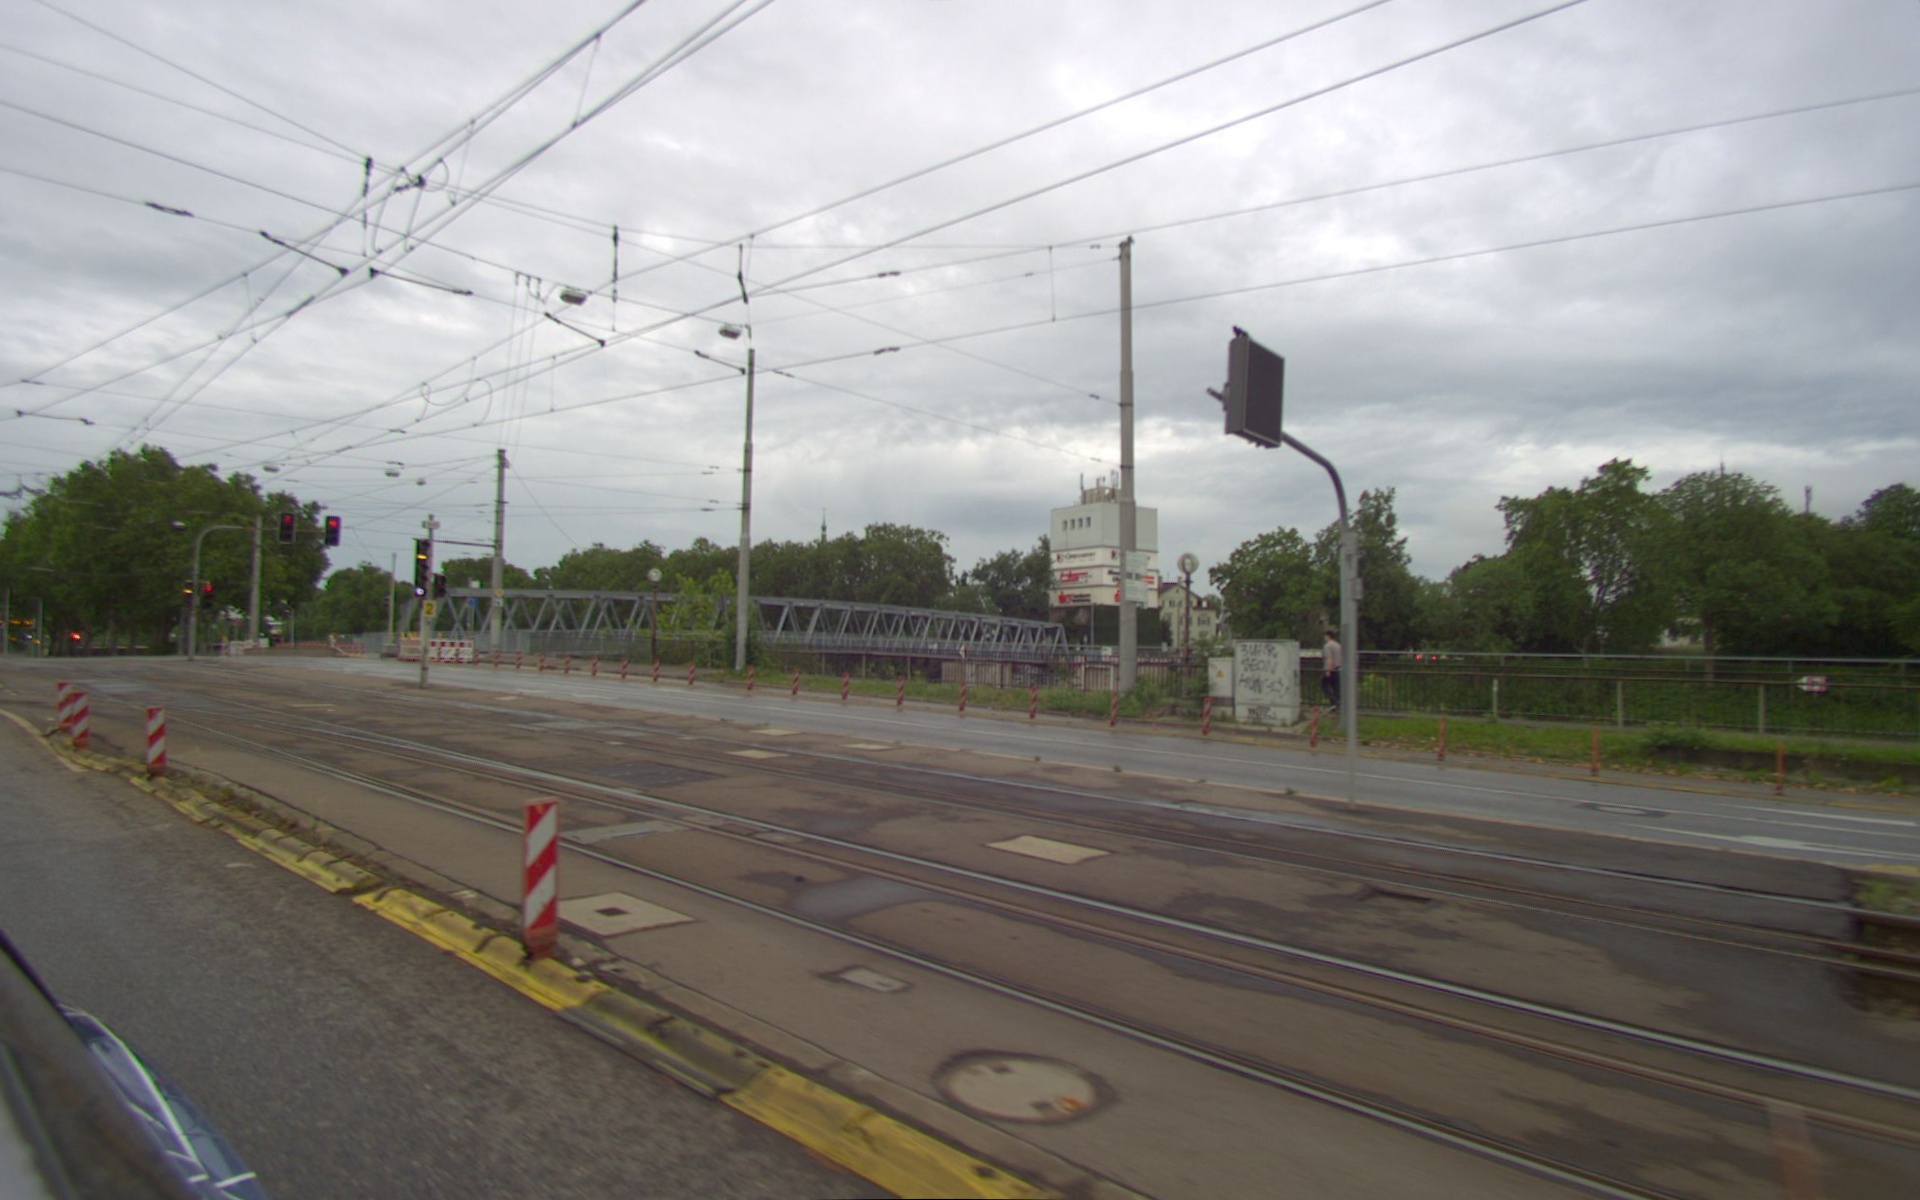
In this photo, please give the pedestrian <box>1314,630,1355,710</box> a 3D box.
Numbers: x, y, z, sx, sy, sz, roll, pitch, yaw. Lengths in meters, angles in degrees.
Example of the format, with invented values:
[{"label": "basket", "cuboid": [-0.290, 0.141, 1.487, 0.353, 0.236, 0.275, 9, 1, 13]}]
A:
[{"label": "pedestrian", "cuboid": [8.194, 1.518, 22.118, 0.618, 1.701, 0.756, -2, -4, 41]}]
